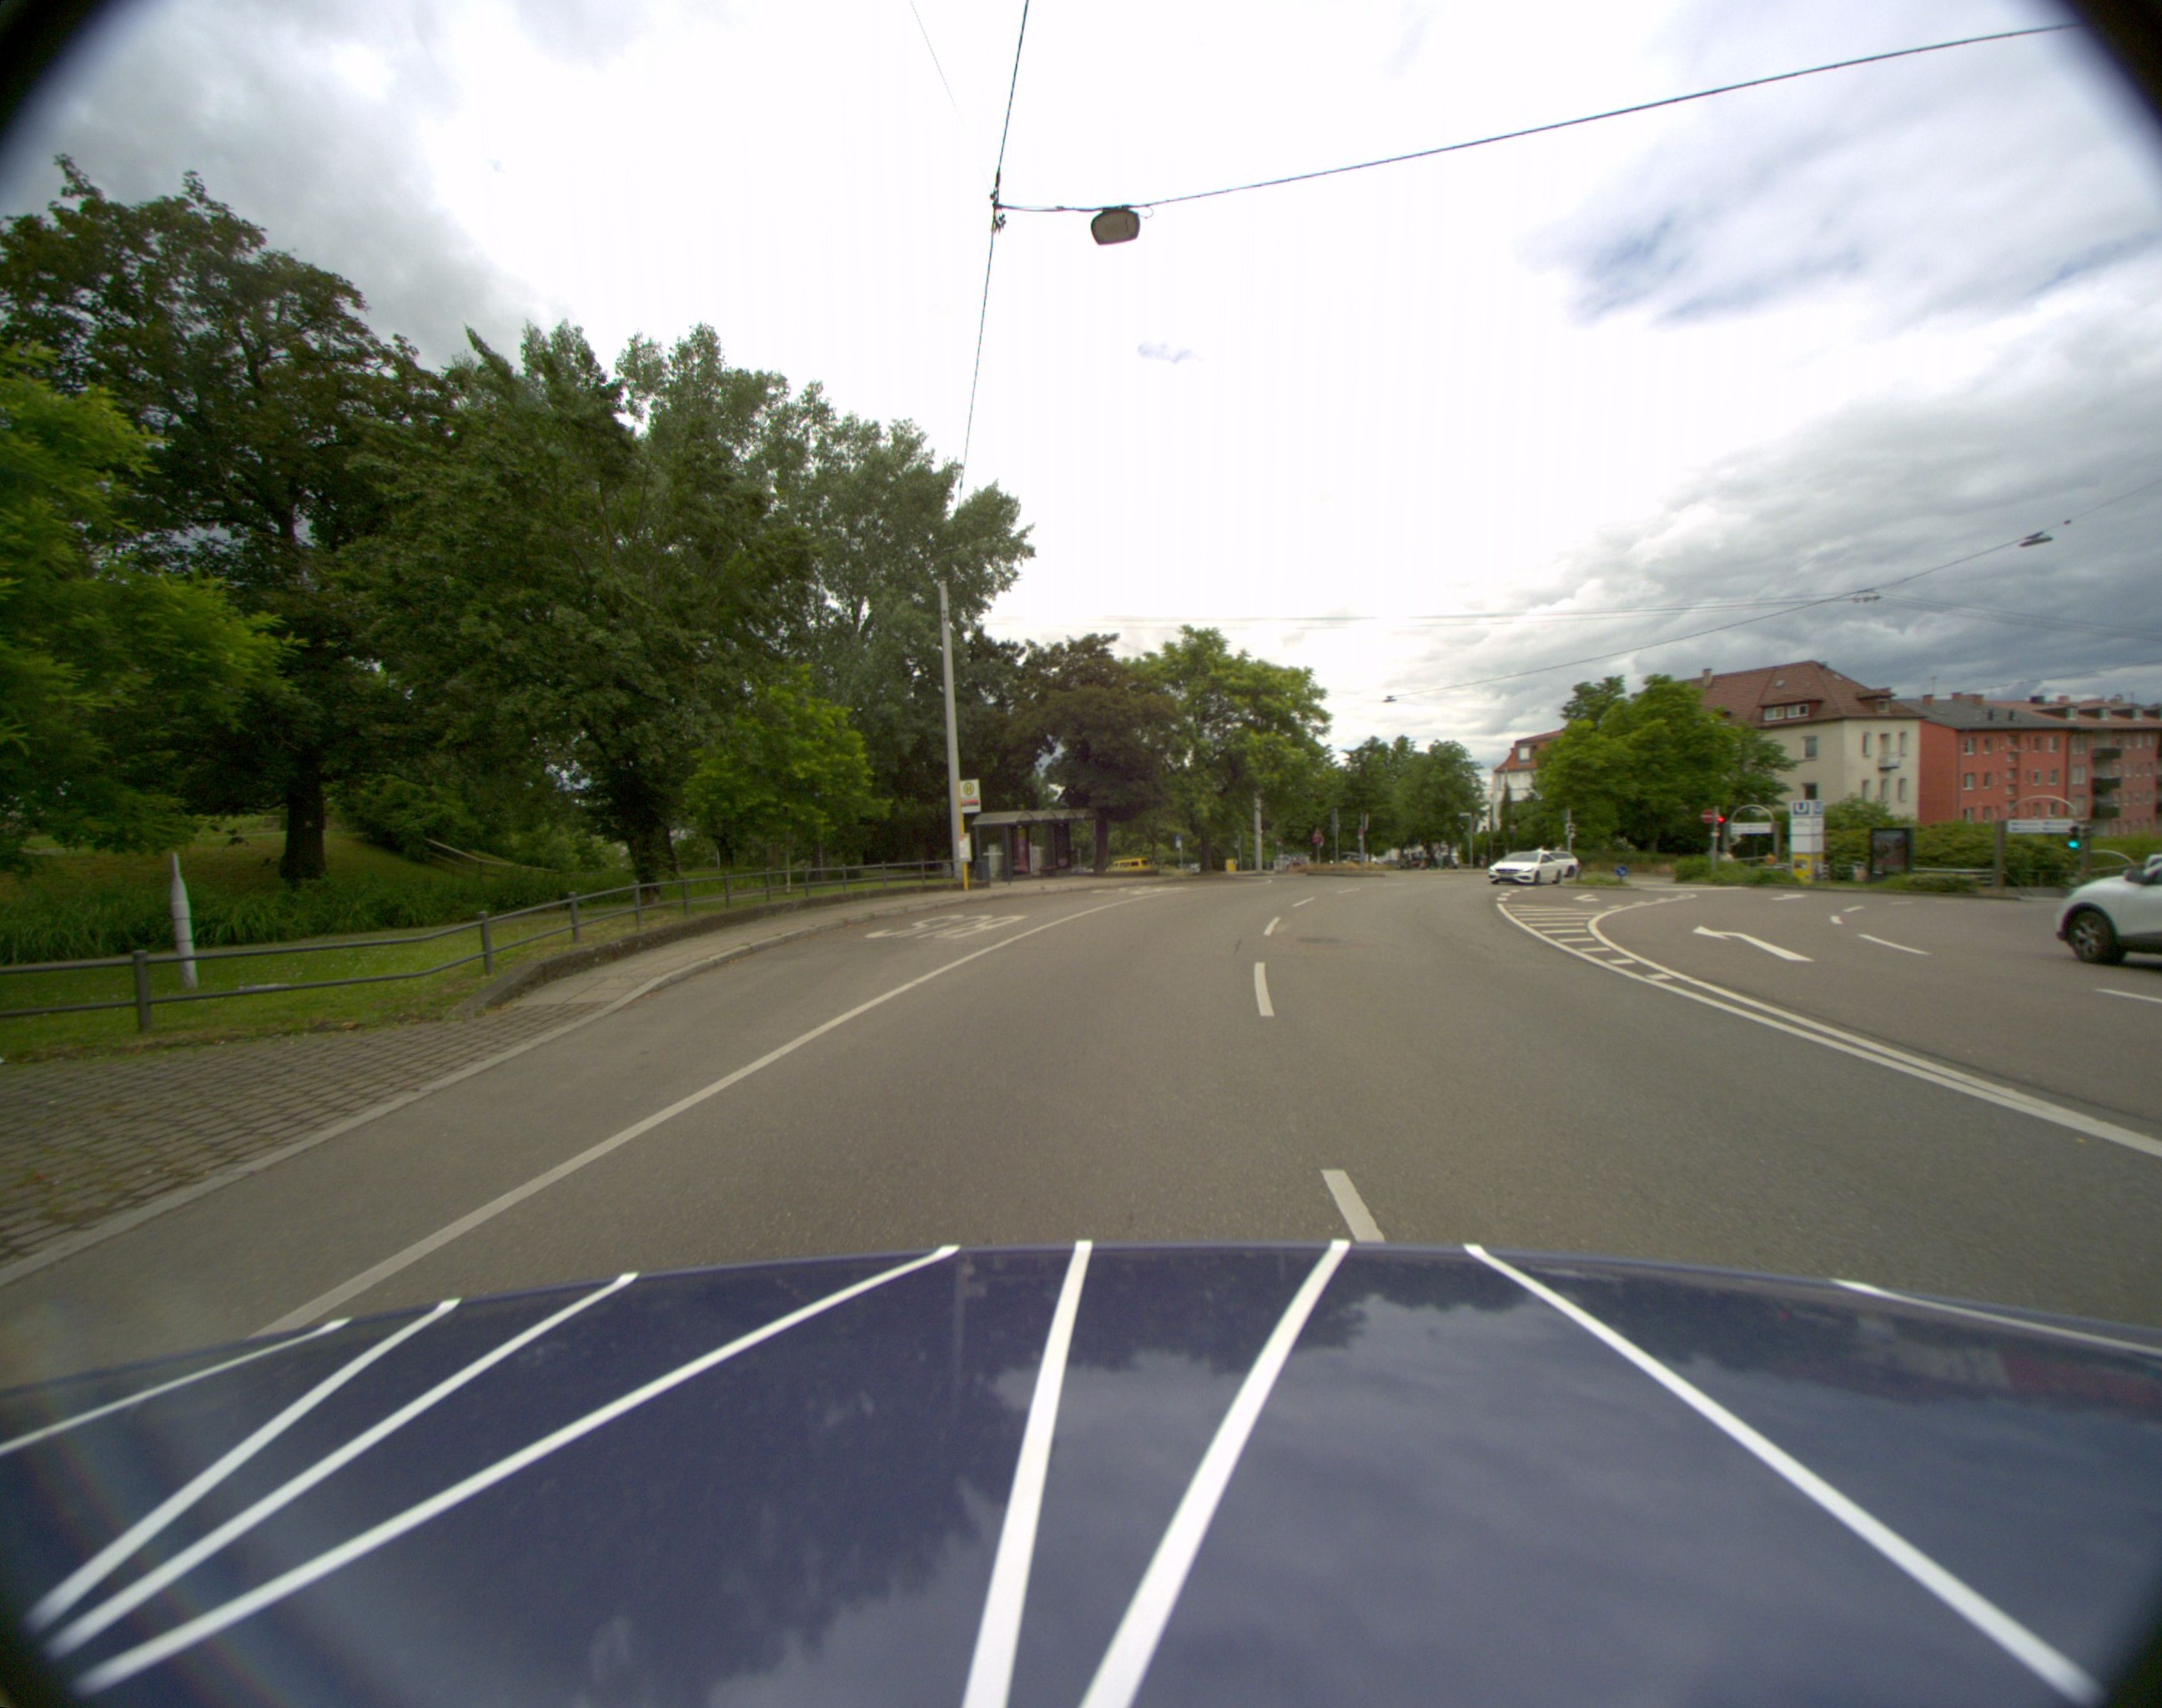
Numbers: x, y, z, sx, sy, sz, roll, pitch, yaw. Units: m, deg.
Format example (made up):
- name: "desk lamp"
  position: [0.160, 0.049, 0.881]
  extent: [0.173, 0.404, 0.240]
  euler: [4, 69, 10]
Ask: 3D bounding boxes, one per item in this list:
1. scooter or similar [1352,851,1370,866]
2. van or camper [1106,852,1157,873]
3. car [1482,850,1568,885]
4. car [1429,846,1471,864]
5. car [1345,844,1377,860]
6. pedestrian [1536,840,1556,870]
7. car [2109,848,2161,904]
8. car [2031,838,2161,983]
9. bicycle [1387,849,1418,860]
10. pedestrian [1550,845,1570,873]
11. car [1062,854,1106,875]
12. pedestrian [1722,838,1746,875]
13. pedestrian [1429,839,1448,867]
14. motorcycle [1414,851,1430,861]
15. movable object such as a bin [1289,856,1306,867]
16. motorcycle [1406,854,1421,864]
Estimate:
- name: "scooter or similar"
  position: [22.638, 0.382, 61.420]
  extent: [1.319, 1.241, 0.464]
  euler: [0, 0, 2]
- name: "van or camper"
  position: [4.800, 0.816, 72.623]
  extent: [4.458, 1.966, 1.893]
  euler: [-1, 2, 37]
- name: "car"
  position: [19.199, 0.540, 32.777]
  extent: [4.238, 1.390, 1.994]
  euler: [-1, 1, -42]
- name: "car"
  position: [41.688, 0.111, 85.875]
  extent: [3.776, 2.002, 2.004]
  euler: [0, 1, 43]
- name: "car"
  position: [33.696, -0.274, 91.367]
  extent: [1.994, 1.892, 4.725]
  euler: [0, 0, 42]
- name: "pedestrian"
  position: [27.626, 0.062, 45.159]
  extent: [0.727, 1.703, 0.615]
  euler: [1, 4, -16]
- name: "car"
  position: [37.422, 0.708, 25.534]
  extent: [4.040, 1.820, 1.915]
  euler: [0, 0, -12]
- name: "car"
  position: [12.979, 0.633, 7.937]
  extent: [1.897, 1.644, 4.383]
  euler: [0, 0, 22]
- name: "bicycle"
  position: [33.996, 0.064, 80.295]
  extent: [2.954, 1.139, 0.923]
  euler: [0, 1, -5]
- name: "pedestrian"
  position: [28.957, 0.300, 45.916]
  extent: [0.727, 1.703, 0.615]
  euler: [1, 4, -16]
- name: "car"
  position: [0.261, 1.041, 75.962]
  extent: [3.988, 2.002, 2.004]
  euler: [0, 1, 35]
- name: "pedestrian"
  position: [33.059, 0.150, 38.480]
  extent: [0.614, 1.849, 0.707]
  euler: [1, -1, -13]
- name: "pedestrian"
  position: [24.559, -0.073, 52.196]
  extent: [0.856, 1.875, 0.965]
  euler: [0, 0, -2]
- name: "motorcycle"
  position: [37.530, 0.230, 83.572]
  extent: [2.059, 1.027, 0.753]
  euler: [0, 1, -40]
- name: "movable object such as a bin"
  position: [22.387, 0.739, 78.691]
  extent: [1.315, 1.159, 1.061]
  euler: [0, 1, -12]
- name: "motorcycle"
  position: [36.854, 0.532, 84.195]
  extent: [2.059, 1.027, 0.753]
  euler: [0, 1, -40]
